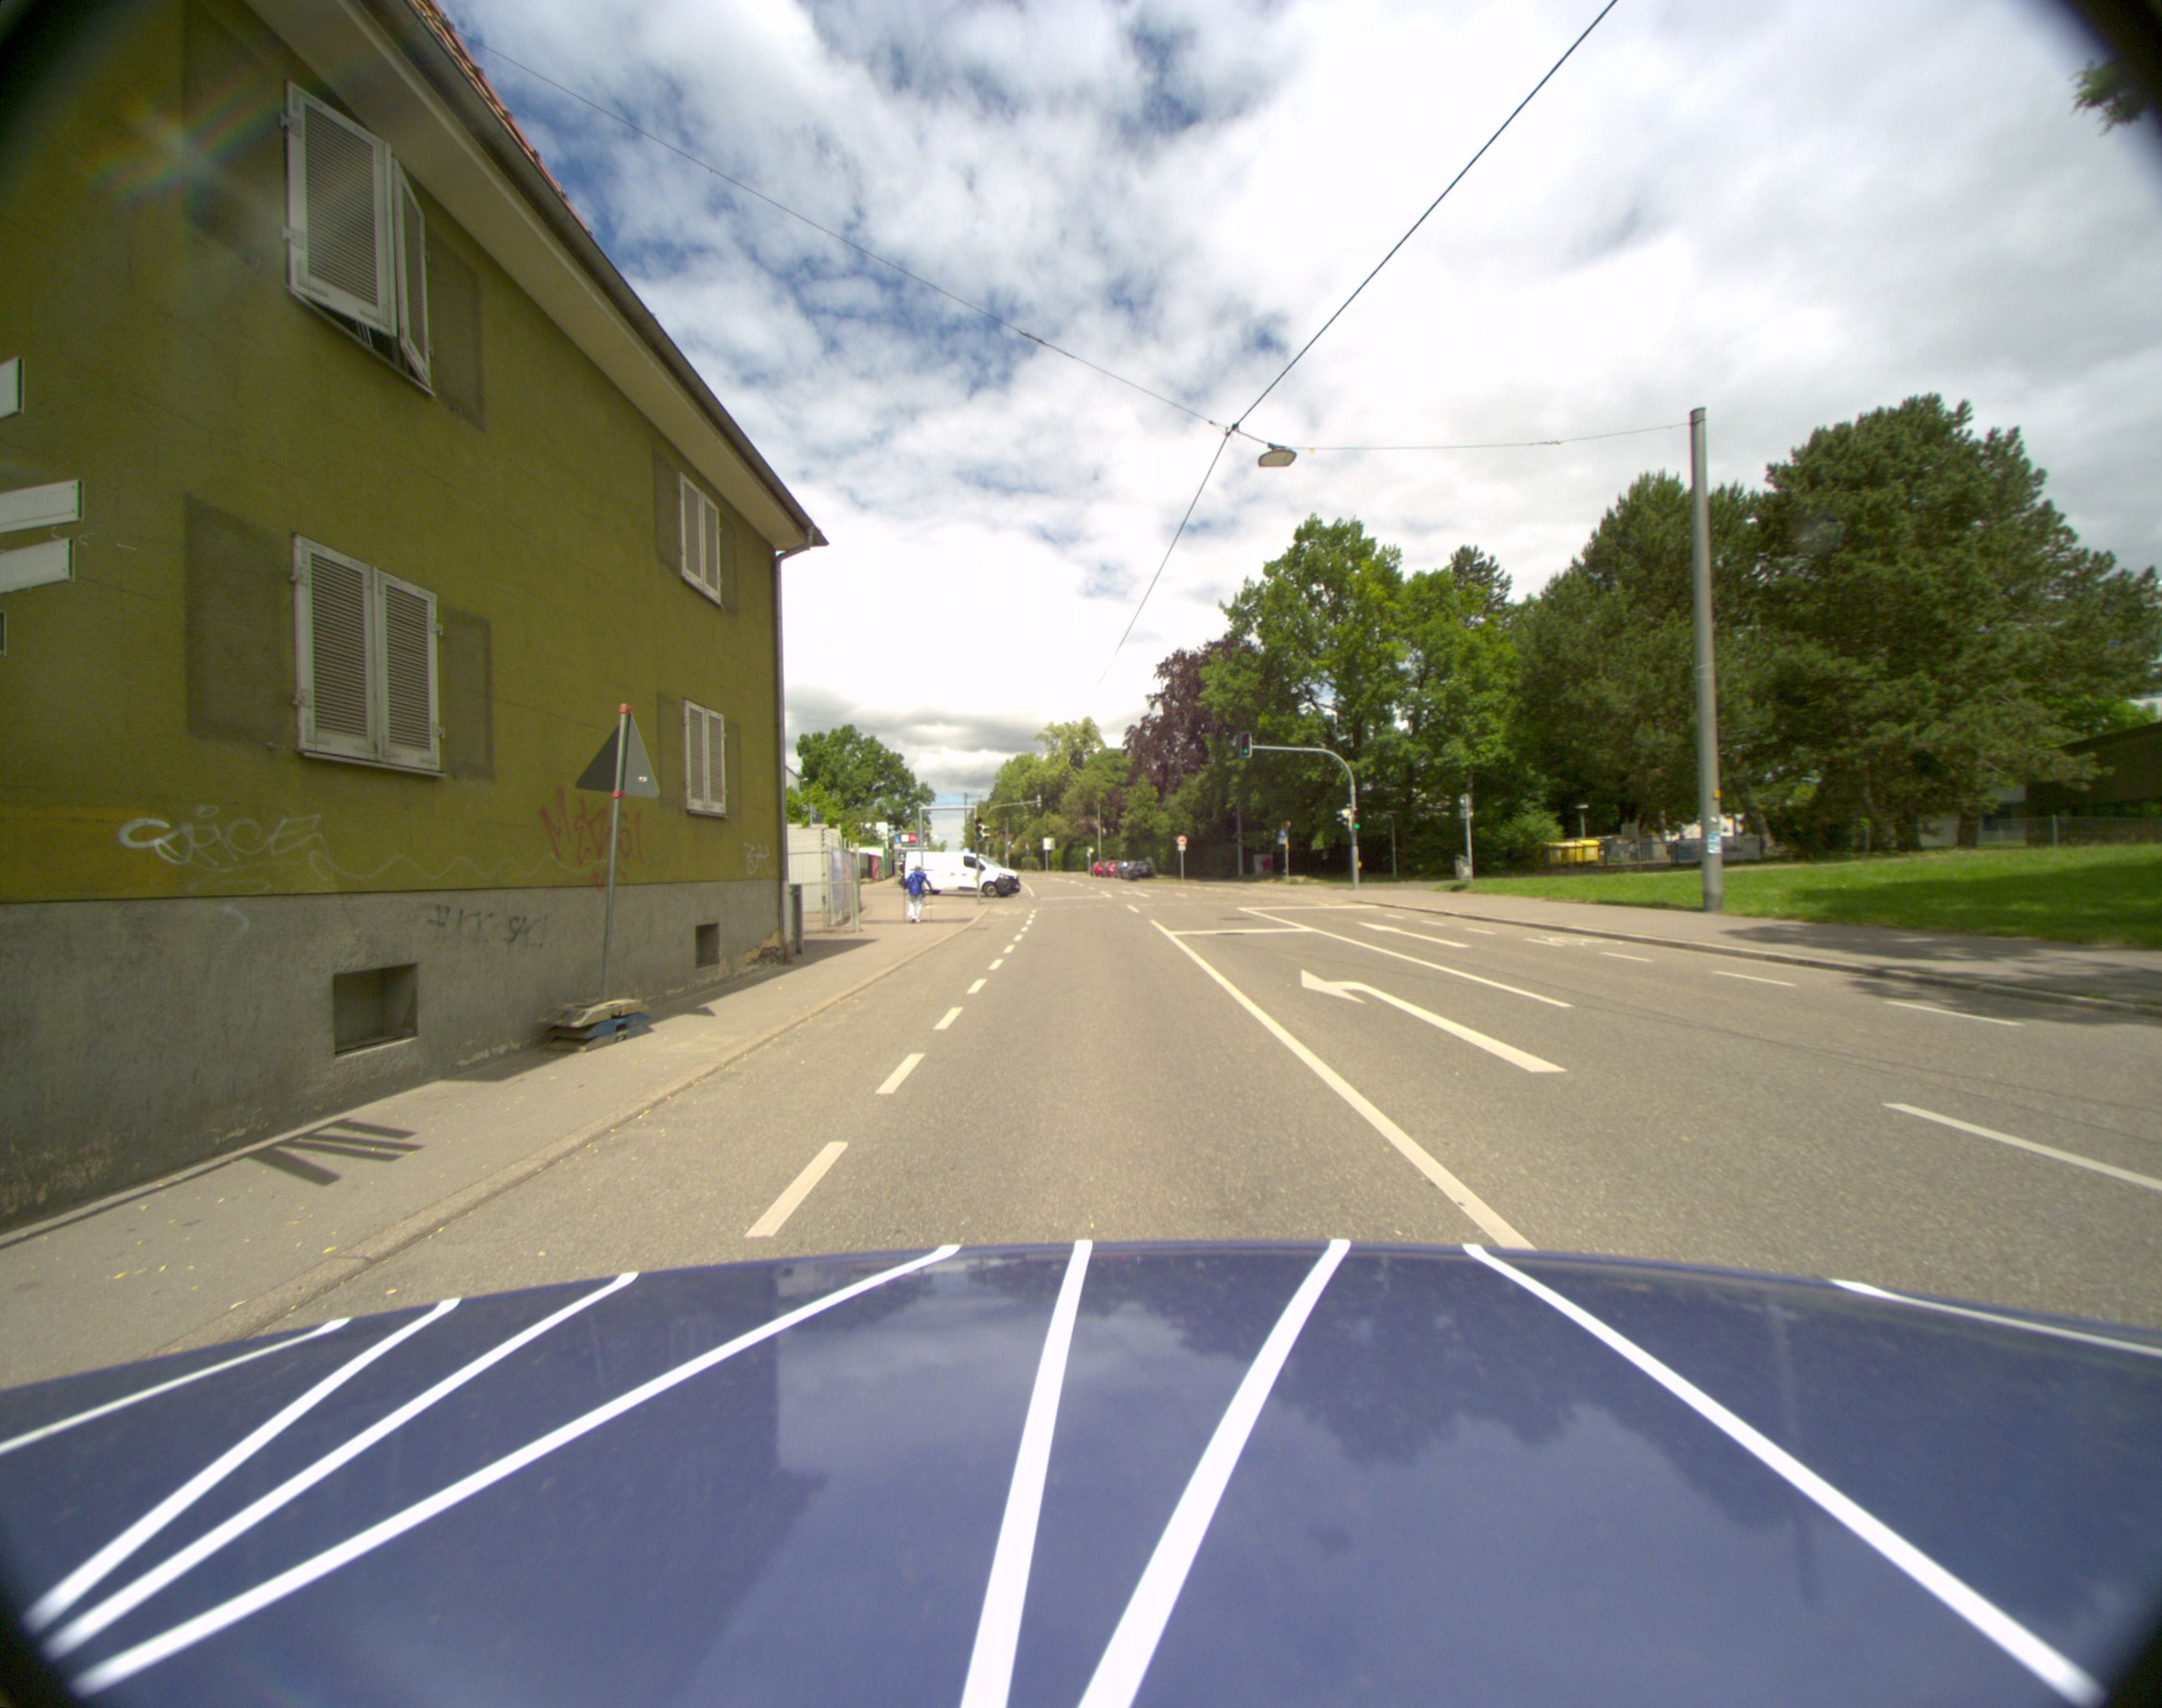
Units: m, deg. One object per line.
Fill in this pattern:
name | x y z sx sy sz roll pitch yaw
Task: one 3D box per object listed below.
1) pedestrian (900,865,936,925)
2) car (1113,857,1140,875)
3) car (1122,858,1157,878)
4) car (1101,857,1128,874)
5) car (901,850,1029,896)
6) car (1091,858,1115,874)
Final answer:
pedestrian | -4.372 1.085 20.432 0.826 1.563 0.987 0 0 -4
car | 3.780 0.964 63.352 1.560 1.404 3.191 -3 1 -9
car | 4.505 1.050 58.835 1.688 1.407 4.398 -3 1 -9
car | 2.940 1.017 67.861 1.524 1.469 3.321 -3 0 -12
car | -5.247 0.846 34.480 5.341 2.011 2.002 -1 0 16
car | 2.105 1.152 72.997 1.531 1.358 3.371 -3 1 -12
